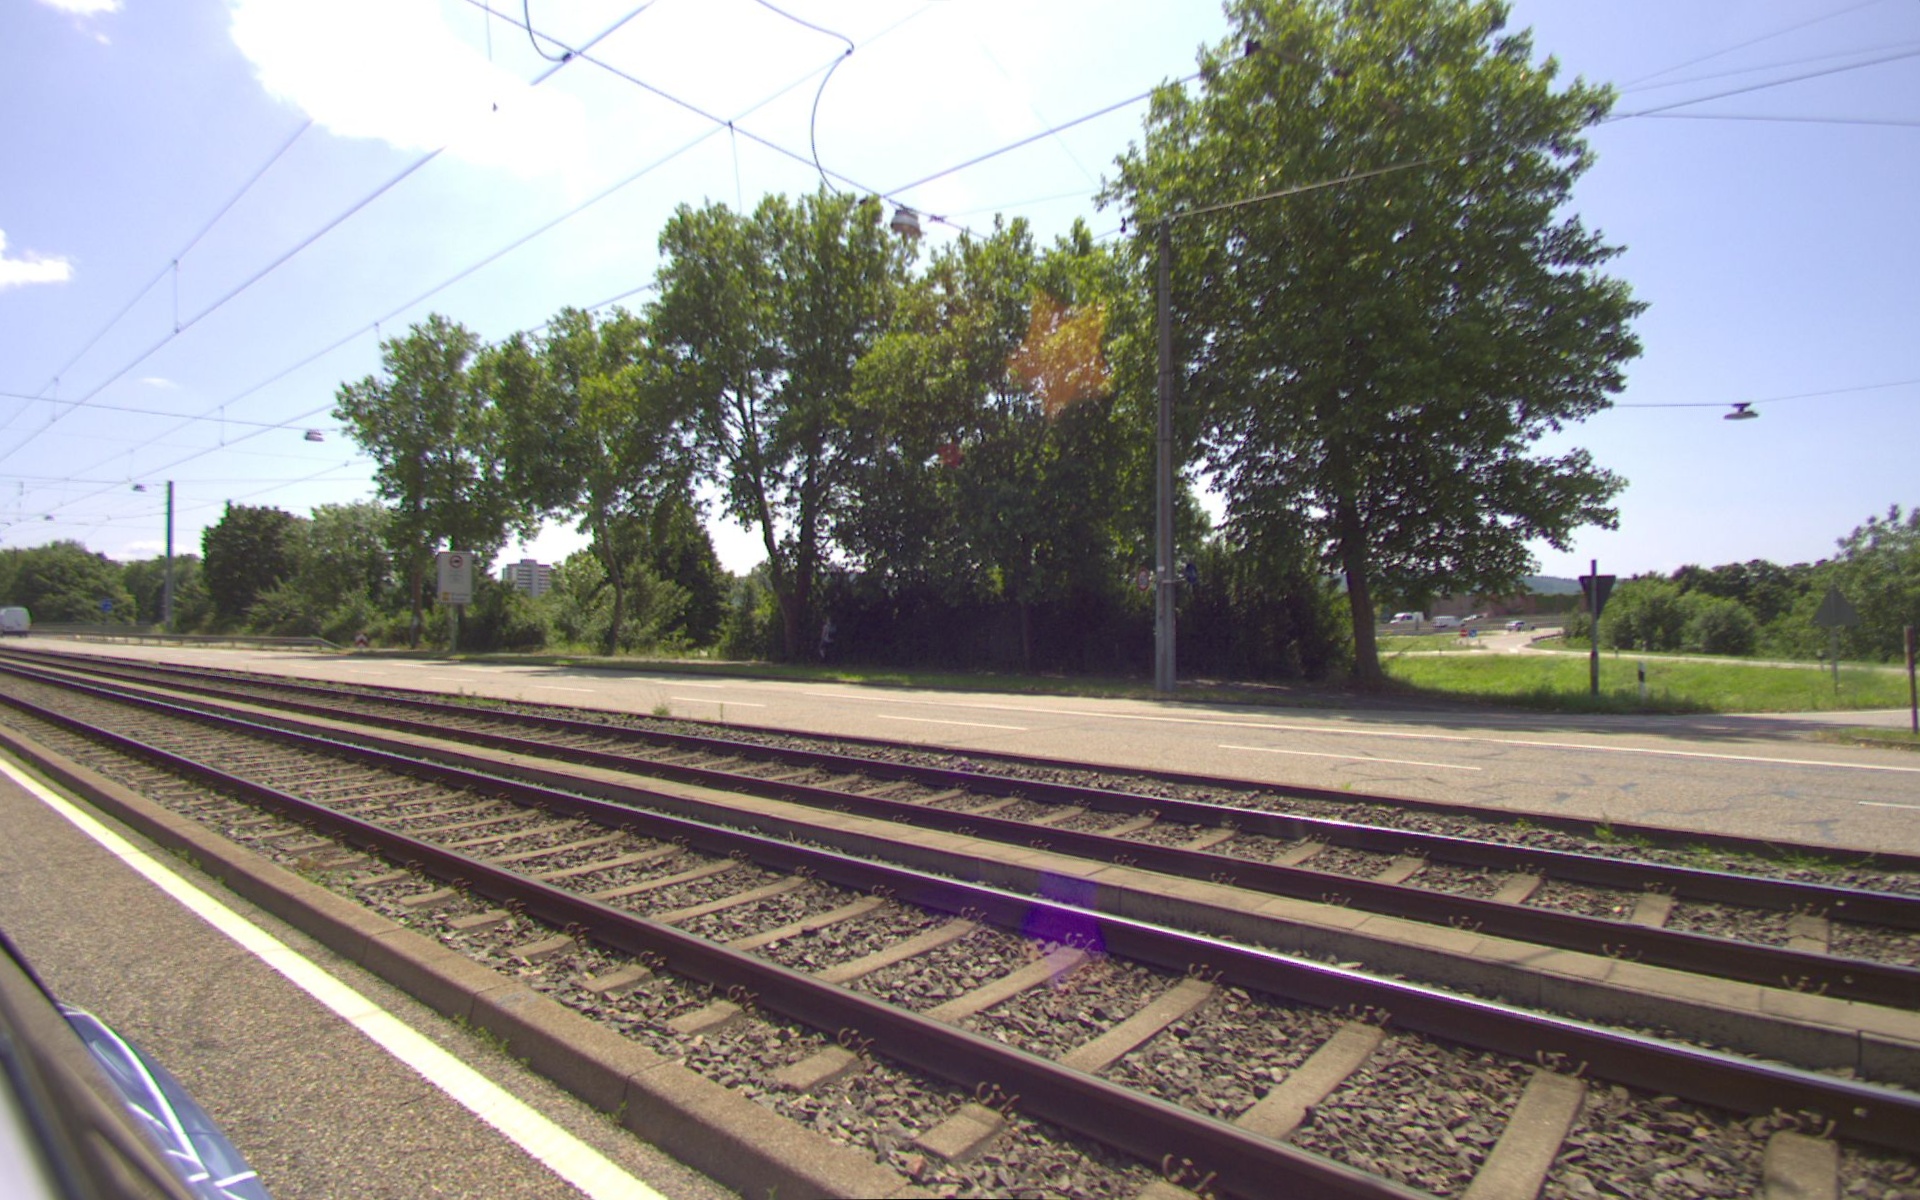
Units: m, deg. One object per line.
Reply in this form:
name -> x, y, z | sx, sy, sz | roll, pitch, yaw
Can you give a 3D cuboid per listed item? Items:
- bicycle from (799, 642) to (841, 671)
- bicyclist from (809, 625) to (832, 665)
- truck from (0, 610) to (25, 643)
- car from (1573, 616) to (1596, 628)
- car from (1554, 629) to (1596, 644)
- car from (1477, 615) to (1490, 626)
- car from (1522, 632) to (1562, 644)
bicycle -> -5.069, 2.010, 36.536 | 0.721, 0.995, 1.765 | 1, -2, -37
bicyclist -> -5.033, 1.616, 36.528 | 0.577, 1.440, 0.647 | 1, -2, -36
truck -> -89.256, 2.462, 94.544 | 6.315, 2.961, 2.032 | -1, -3, 41
car -> 82.508, 2.955, 133.706 | 3.578, 1.541, 1.621 | 1, -2, -42
car -> 68.459, 4.050, 112.638 | 3.593, 1.578, 1.614 | 0, -1, 9
car -> 73.716, 2.850, 142.608 | 1.611, 1.541, 3.600 | -1, -2, 27
car -> 67.473, 4.393, 117.360 | 3.595, 1.429, 1.613 | -1, -1, 11
